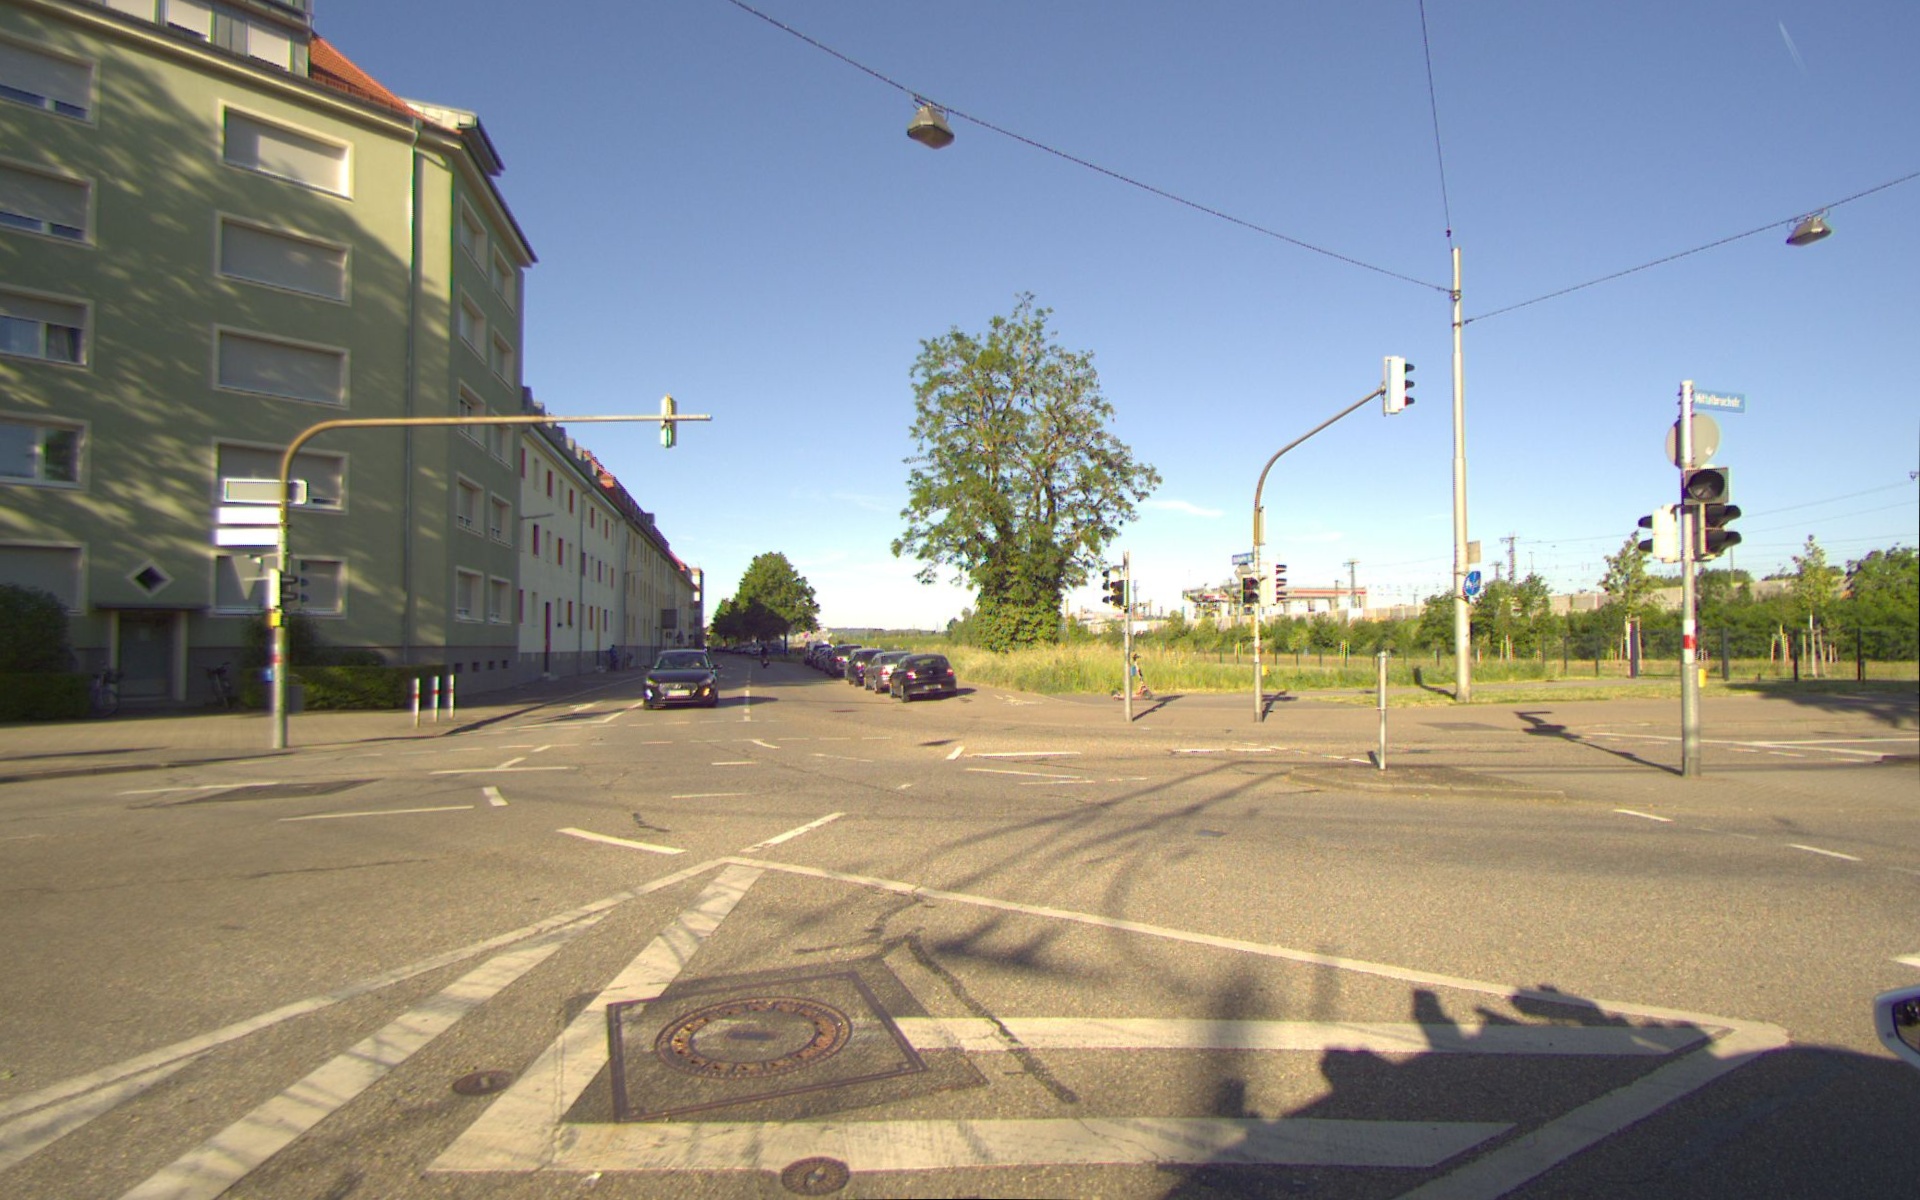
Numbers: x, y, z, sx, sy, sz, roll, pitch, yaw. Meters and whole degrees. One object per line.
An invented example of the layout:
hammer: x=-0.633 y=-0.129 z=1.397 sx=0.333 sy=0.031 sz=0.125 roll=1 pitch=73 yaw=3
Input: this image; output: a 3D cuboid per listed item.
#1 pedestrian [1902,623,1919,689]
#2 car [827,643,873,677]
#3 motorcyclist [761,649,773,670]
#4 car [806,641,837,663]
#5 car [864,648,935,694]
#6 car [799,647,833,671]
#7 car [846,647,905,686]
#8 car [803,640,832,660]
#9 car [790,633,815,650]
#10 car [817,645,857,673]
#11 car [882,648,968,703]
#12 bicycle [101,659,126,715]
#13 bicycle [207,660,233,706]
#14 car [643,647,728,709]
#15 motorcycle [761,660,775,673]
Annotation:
pedestrian: x=23.937 y=1.387 z=24.885 sx=0.673 sy=1.617 sz=0.600 roll=2 pitch=-2 yaw=-13
car: x=-5.961 y=3.222 z=54.108 sx=1.862 sy=1.589 sz=3.990 roll=-5 pitch=-1 yaw=-14
motorcyclist: x=-14.176 y=4.364 z=73.683 sx=0.703 sy=1.452 sz=0.792 roll=2 pitch=-2 yaw=-19
car: x=-10.550 y=3.944 z=76.441 sx=1.862 sy=1.438 sz=3.990 roll=-5 pitch=-1 yaw=-14
car: x=-2.313 y=2.591 z=37.483 sx=1.862 sy=1.438 sz=3.990 roll=-5 pitch=-1 yaw=-14
car: x=-10.077 y=4.129 z=70.216 sx=1.862 sy=1.438 sz=3.990 roll=-5 pitch=-1 yaw=-14
car: x=-3.727 y=2.872 z=43.824 sx=1.862 sy=1.438 sz=3.990 roll=-5 pitch=-1 yaw=-14
car: x=-11.663 y=4.105 z=82.188 sx=1.862 sy=1.438 sz=3.990 roll=-5 pitch=-1 yaw=-14
car: x=-14.805 y=3.895 z=94.422 sx=1.862 sy=1.438 sz=3.990 roll=-5 pitch=-1 yaw=-14
car: x=-7.352 y=3.460 z=59.738 sx=1.862 sy=1.438 sz=3.990 roll=-5 pitch=-1 yaw=-14
car: x=-1.200 y=2.326 z=31.896 sx=1.862 sy=1.438 sz=3.990 roll=-5 pitch=-1 yaw=-14
bicycle: x=-19.083 y=1.942 z=22.637 sx=0.356 sy=1.221 sz=1.494 roll=3 pitch=-4 yaw=-42
bicycle: x=-18.476 y=2.046 z=25.065 sx=0.356 sy=1.102 sz=1.494 roll=3 pitch=-4 yaw=-42
car: x=-7.055 y=1.967 z=26.078 sx=1.966 sy=1.438 sz=3.990 roll=0 pitch=-2 yaw=-14
motorcycle: x=-14.178 y=4.888 z=74.038 sx=0.721 sy=0.881 sz=2.335 roll=2 pitch=-2 yaw=-18
